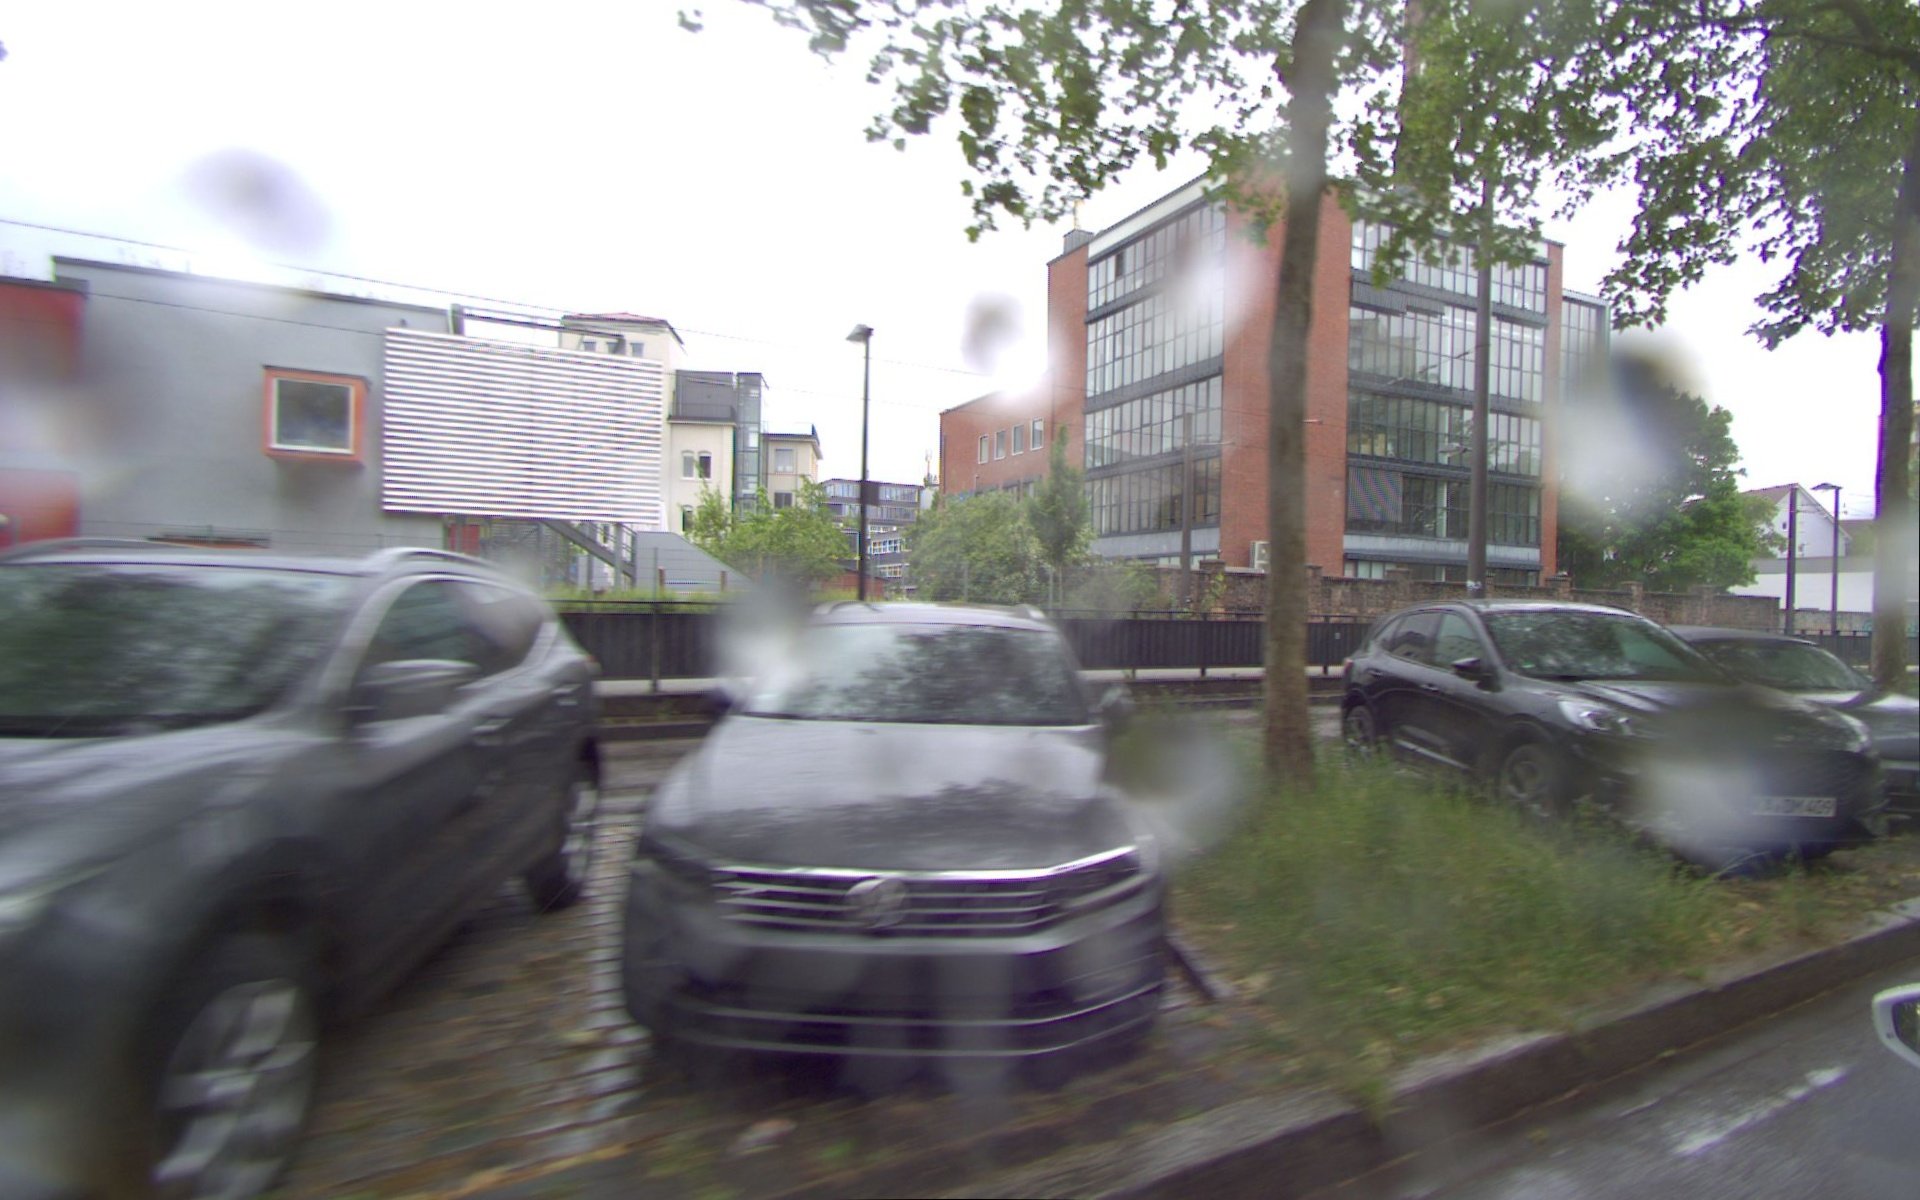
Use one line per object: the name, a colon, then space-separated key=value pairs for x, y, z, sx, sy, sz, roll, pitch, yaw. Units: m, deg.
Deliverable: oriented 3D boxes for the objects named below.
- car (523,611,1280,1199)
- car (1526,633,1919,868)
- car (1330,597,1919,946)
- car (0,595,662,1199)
car: x=-0.090 y=0.867 z=4.799 sx=1.885 sy=1.541 sz=4.562 roll=1 pitch=-1 yaw=1
car: x=7.260 y=1.090 z=8.991 sx=1.922 sy=1.532 sz=4.366 roll=-1 pitch=-2 yaw=0
car: x=4.517 y=0.928 z=7.363 sx=1.922 sy=1.737 sz=4.533 roll=-1 pitch=-2 yaw=0
car: x=-2.458 y=0.803 z=3.338 sx=1.886 sy=1.618 sz=4.470 roll=1 pitch=0 yaw=-4
